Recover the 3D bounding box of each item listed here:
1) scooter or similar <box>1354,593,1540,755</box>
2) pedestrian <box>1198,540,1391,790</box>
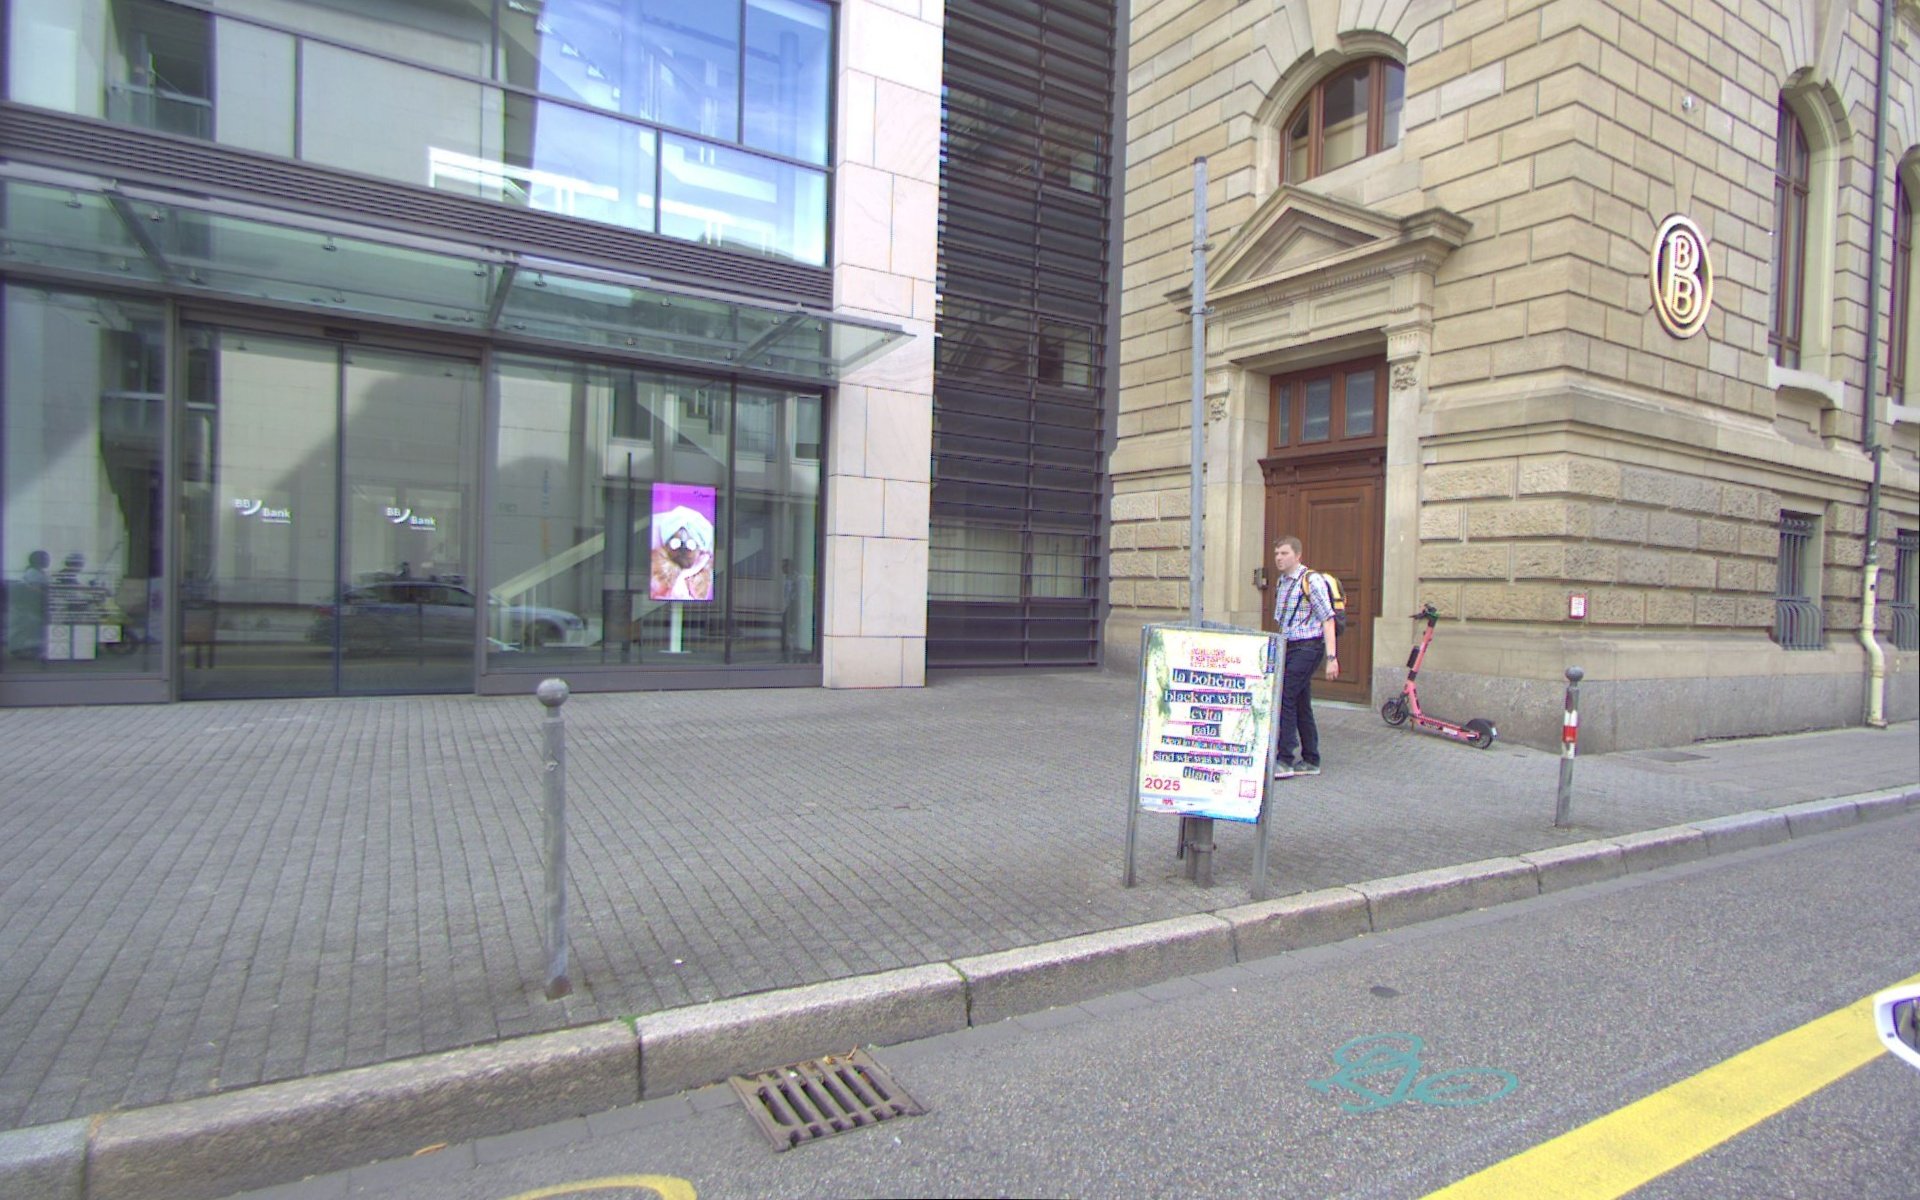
[{"bbox_3d":[4.560,0.642,9.508,0.580,1.328,1.439,0,4,-30],"label":"scooter or similar"},{"bbox_3d":[2.509,0.439,7.615,0.809,1.743,1.021,2,2,-30],"label":"pedestrian"}]
